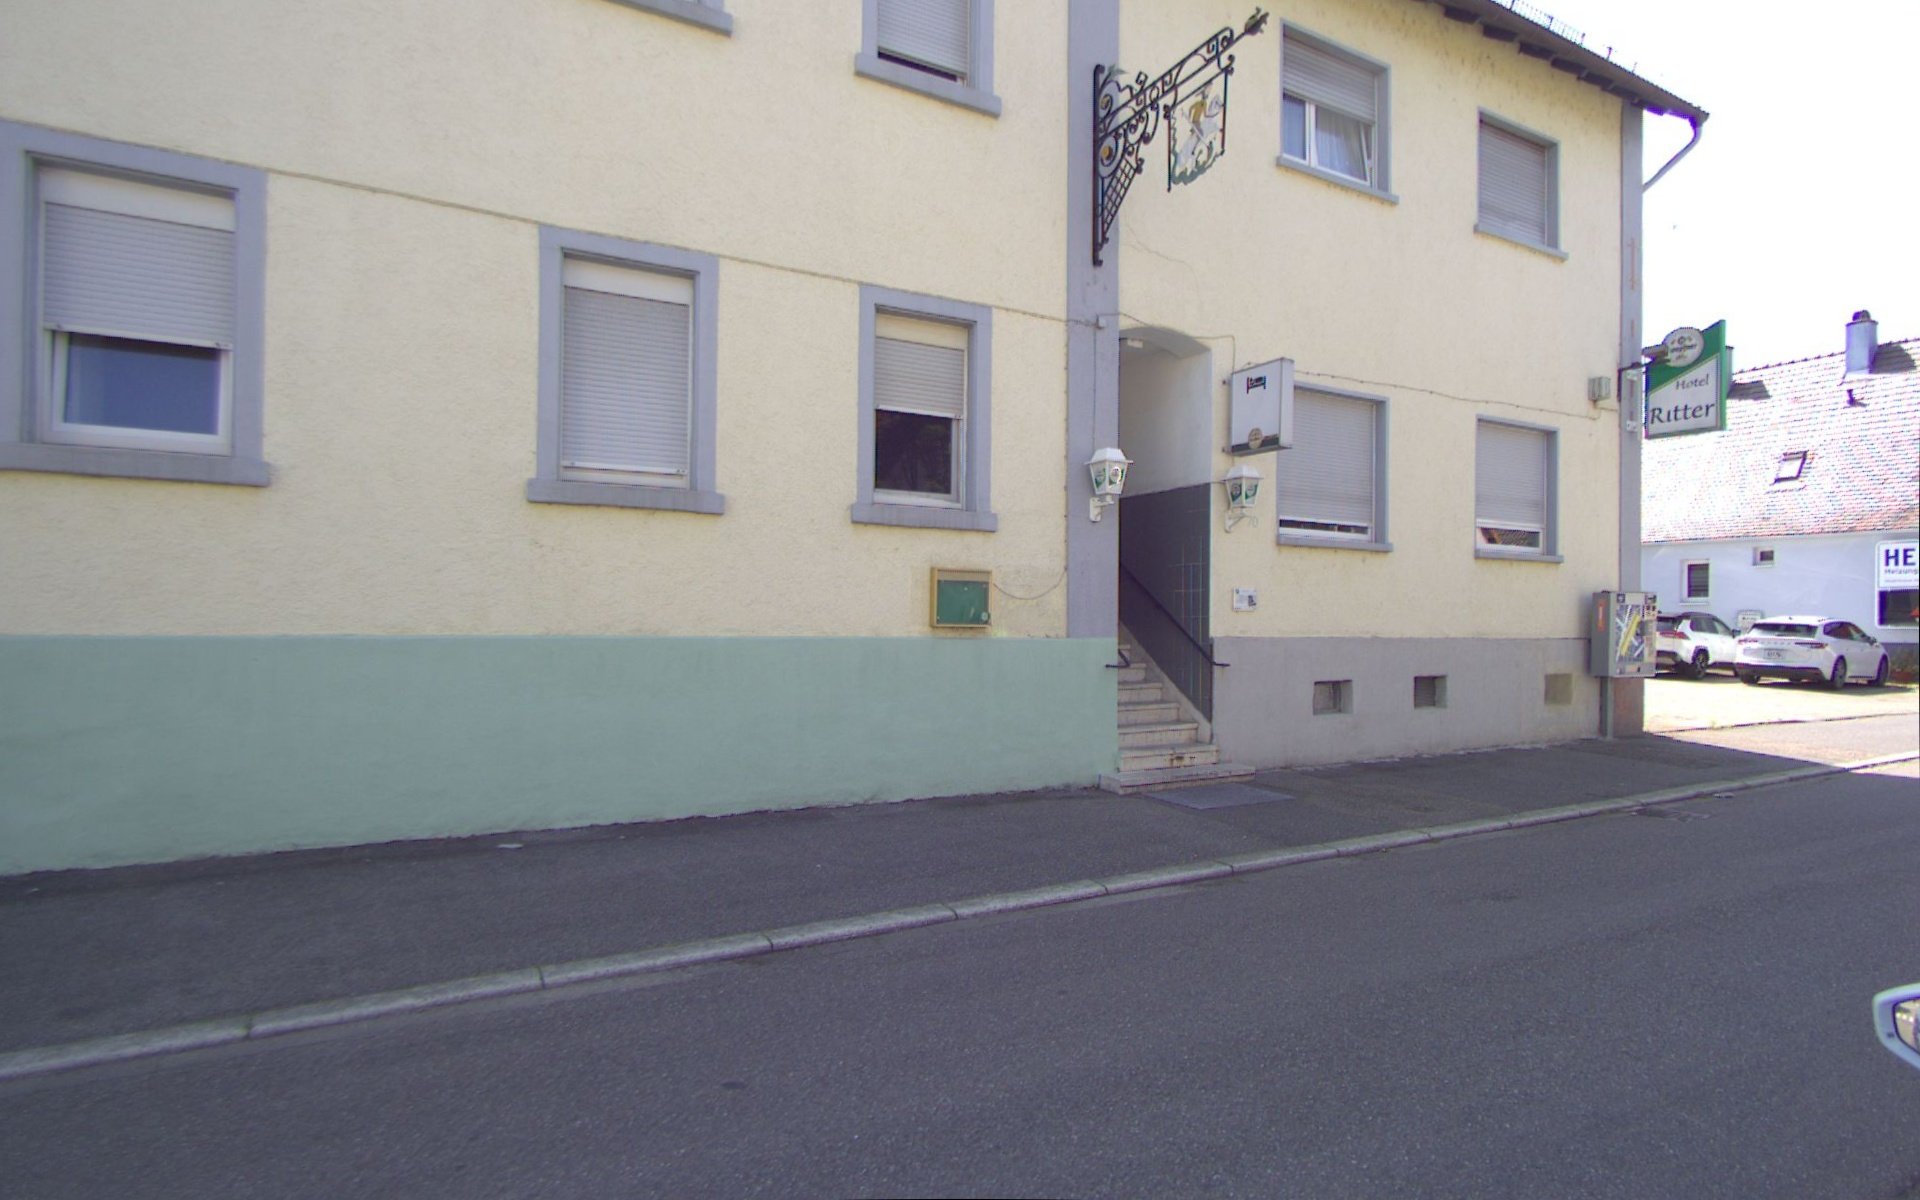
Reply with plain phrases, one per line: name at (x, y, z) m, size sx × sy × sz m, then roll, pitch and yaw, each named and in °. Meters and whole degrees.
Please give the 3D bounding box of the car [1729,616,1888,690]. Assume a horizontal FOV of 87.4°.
car at (20.119, 1.210, 23.788) m, size 4.153 × 1.577 × 1.709 m, roll 1°, pitch 1°, yaw -33°

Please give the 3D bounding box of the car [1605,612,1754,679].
car at (18.633, 1.139, 25.966) m, size 4.153 × 1.577 × 1.709 m, roll 1°, pitch 1°, yaw -33°

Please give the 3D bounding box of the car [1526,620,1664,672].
car at (18.015, 1.274, 28.448) m, size 4.153 × 1.298 × 1.709 m, roll 1°, pitch 1°, yaw -33°
